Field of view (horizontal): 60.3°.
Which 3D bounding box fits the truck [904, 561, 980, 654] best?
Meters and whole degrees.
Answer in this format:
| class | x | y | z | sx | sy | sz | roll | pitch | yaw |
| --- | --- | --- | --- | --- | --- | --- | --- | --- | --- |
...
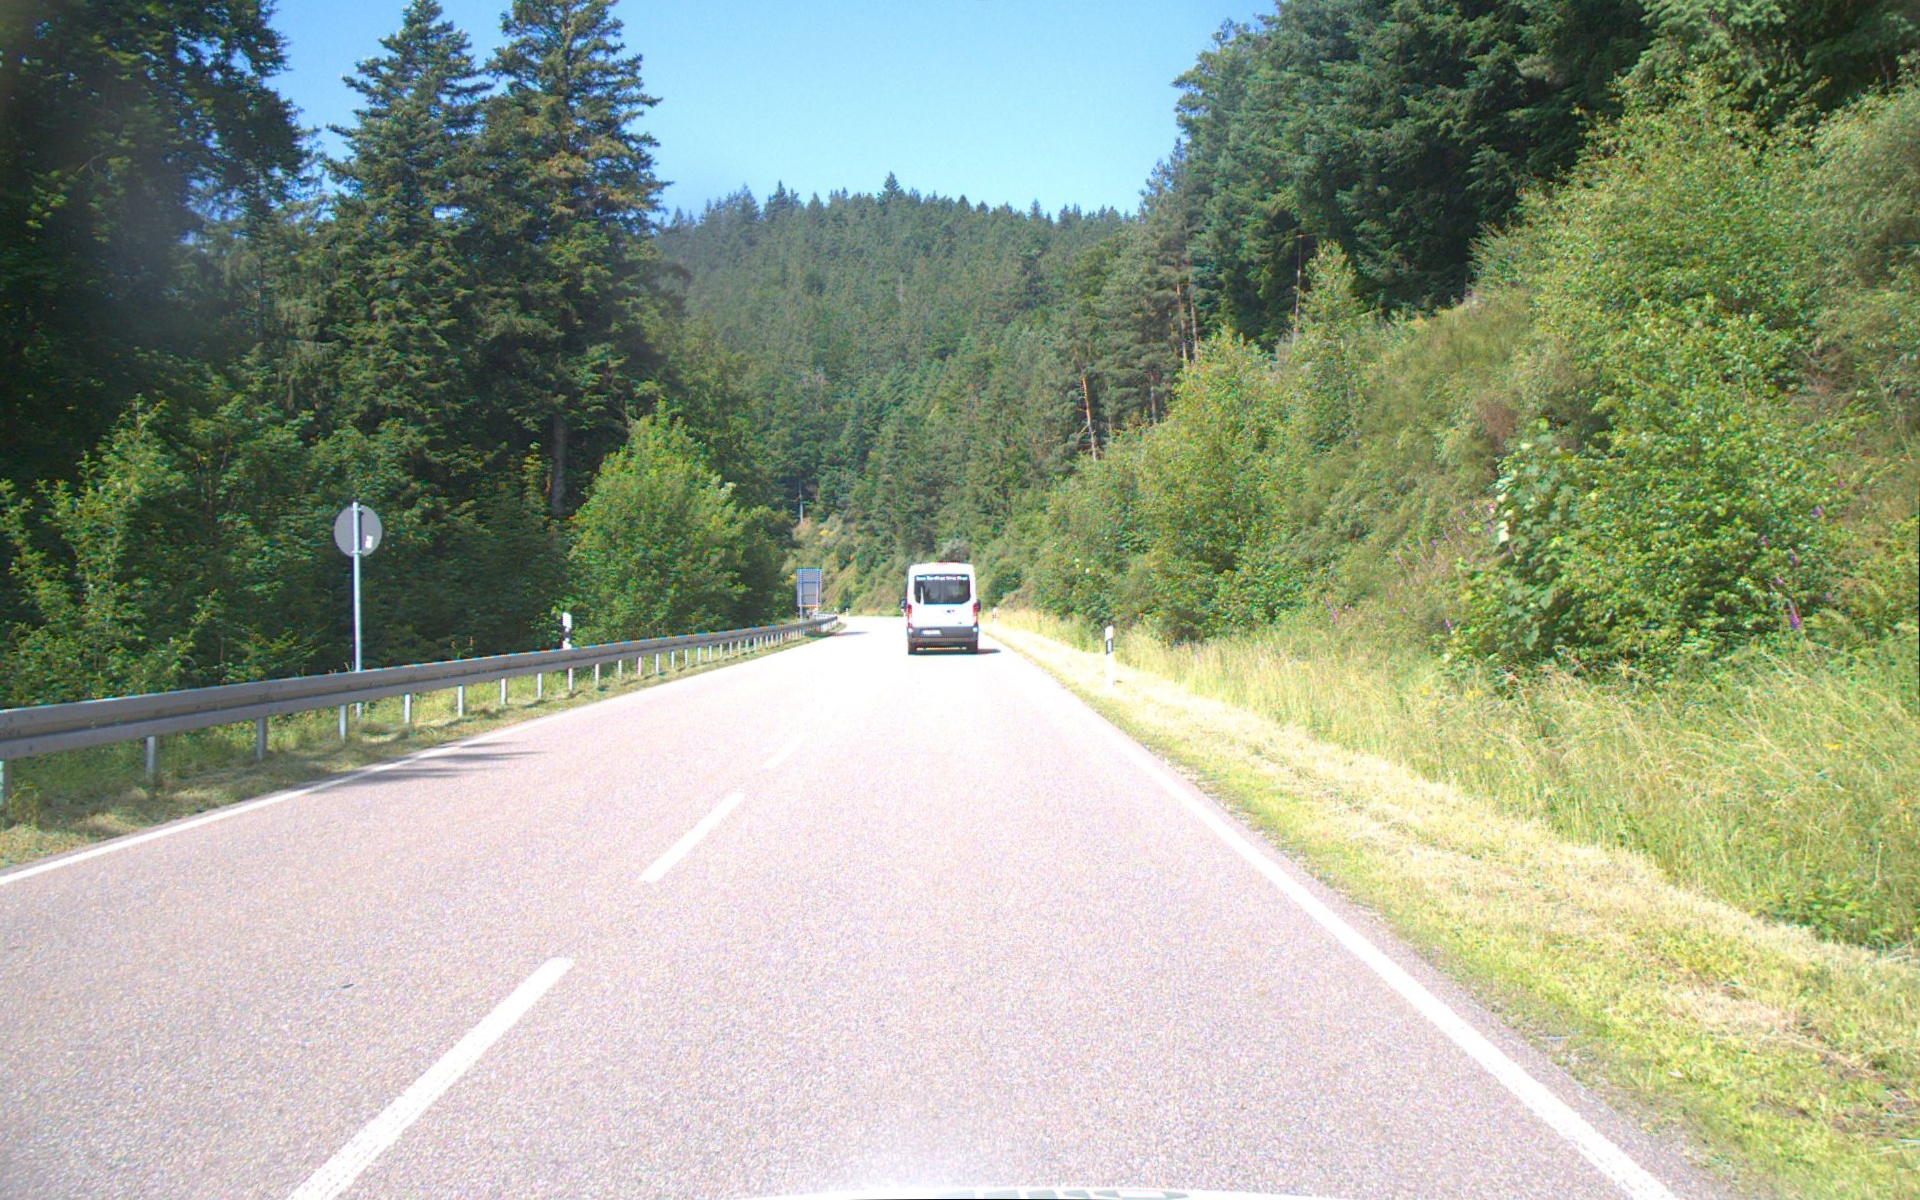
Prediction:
| class | x | y | z | sx | sy | sz | roll | pitch | yaw |
| --- | --- | --- | --- | --- | --- | --- | --- | --- | --- |
| truck | -0.497 | 0.225 | 47.264 | 2.041 | 2.503 | 4.874 | 0 | 0 | 0 |
